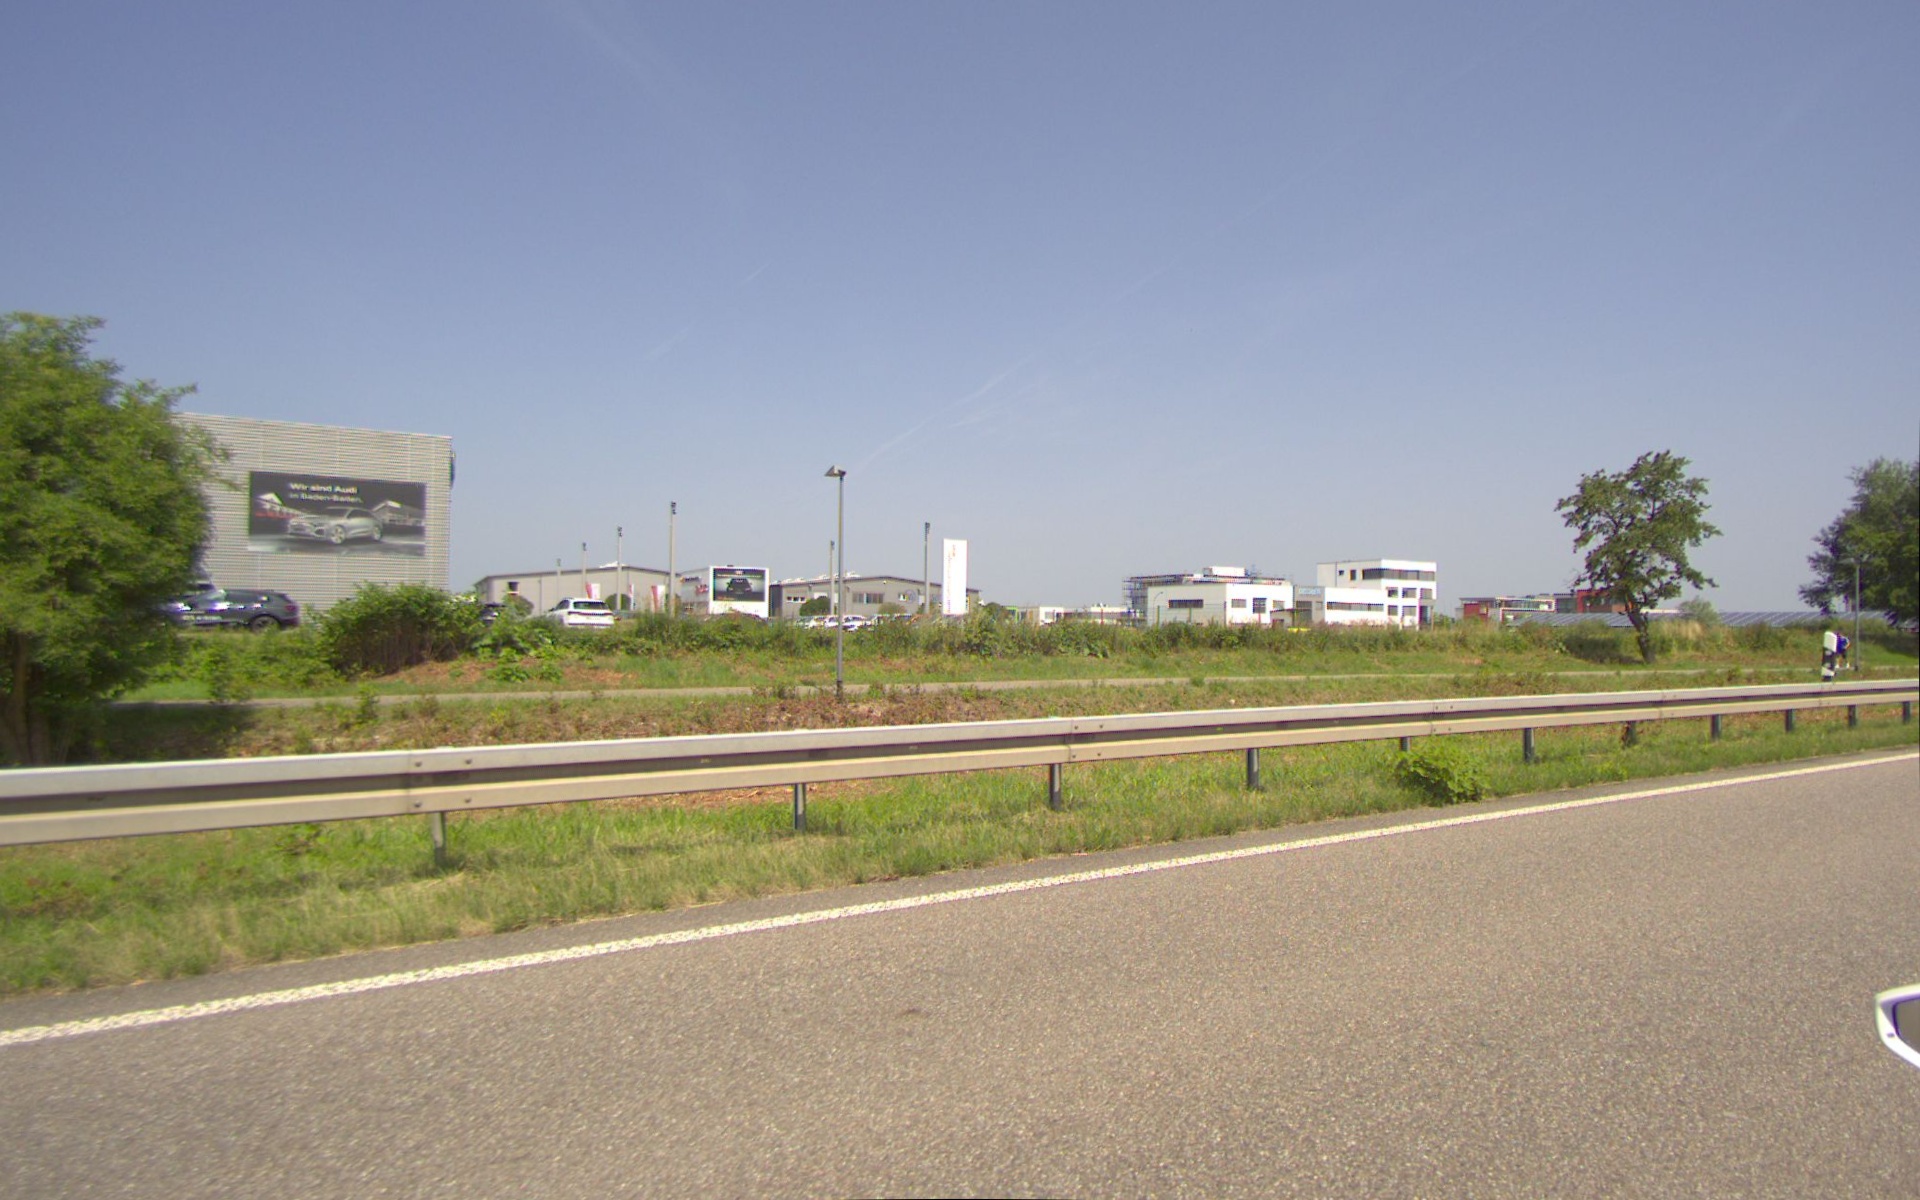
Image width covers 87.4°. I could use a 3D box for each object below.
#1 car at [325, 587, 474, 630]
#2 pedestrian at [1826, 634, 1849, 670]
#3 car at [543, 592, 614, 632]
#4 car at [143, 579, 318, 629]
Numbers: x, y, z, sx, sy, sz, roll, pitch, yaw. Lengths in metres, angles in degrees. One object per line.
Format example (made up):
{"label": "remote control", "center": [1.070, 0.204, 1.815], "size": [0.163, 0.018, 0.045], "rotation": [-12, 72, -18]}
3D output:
{"label": "car", "center": [-20.286, 0.354, 36.530], "size": [4.609, 1.456, 1.739], "rotation": [1, -3, -30]}
{"label": "pedestrian", "center": [43.999, 2.615, 50.380], "size": [0.809, 1.773, 0.577], "rotation": [1, -2, -25]}
{"label": "car", "center": [-15.134, 0.533, 39.713], "size": [1.608, 1.456, 4.197], "rotation": [2, -3, -36]}
{"label": "car", "center": [-24.778, 0.169, 34.342], "size": [4.610, 1.557, 1.739], "rotation": [1, -3, -30]}
